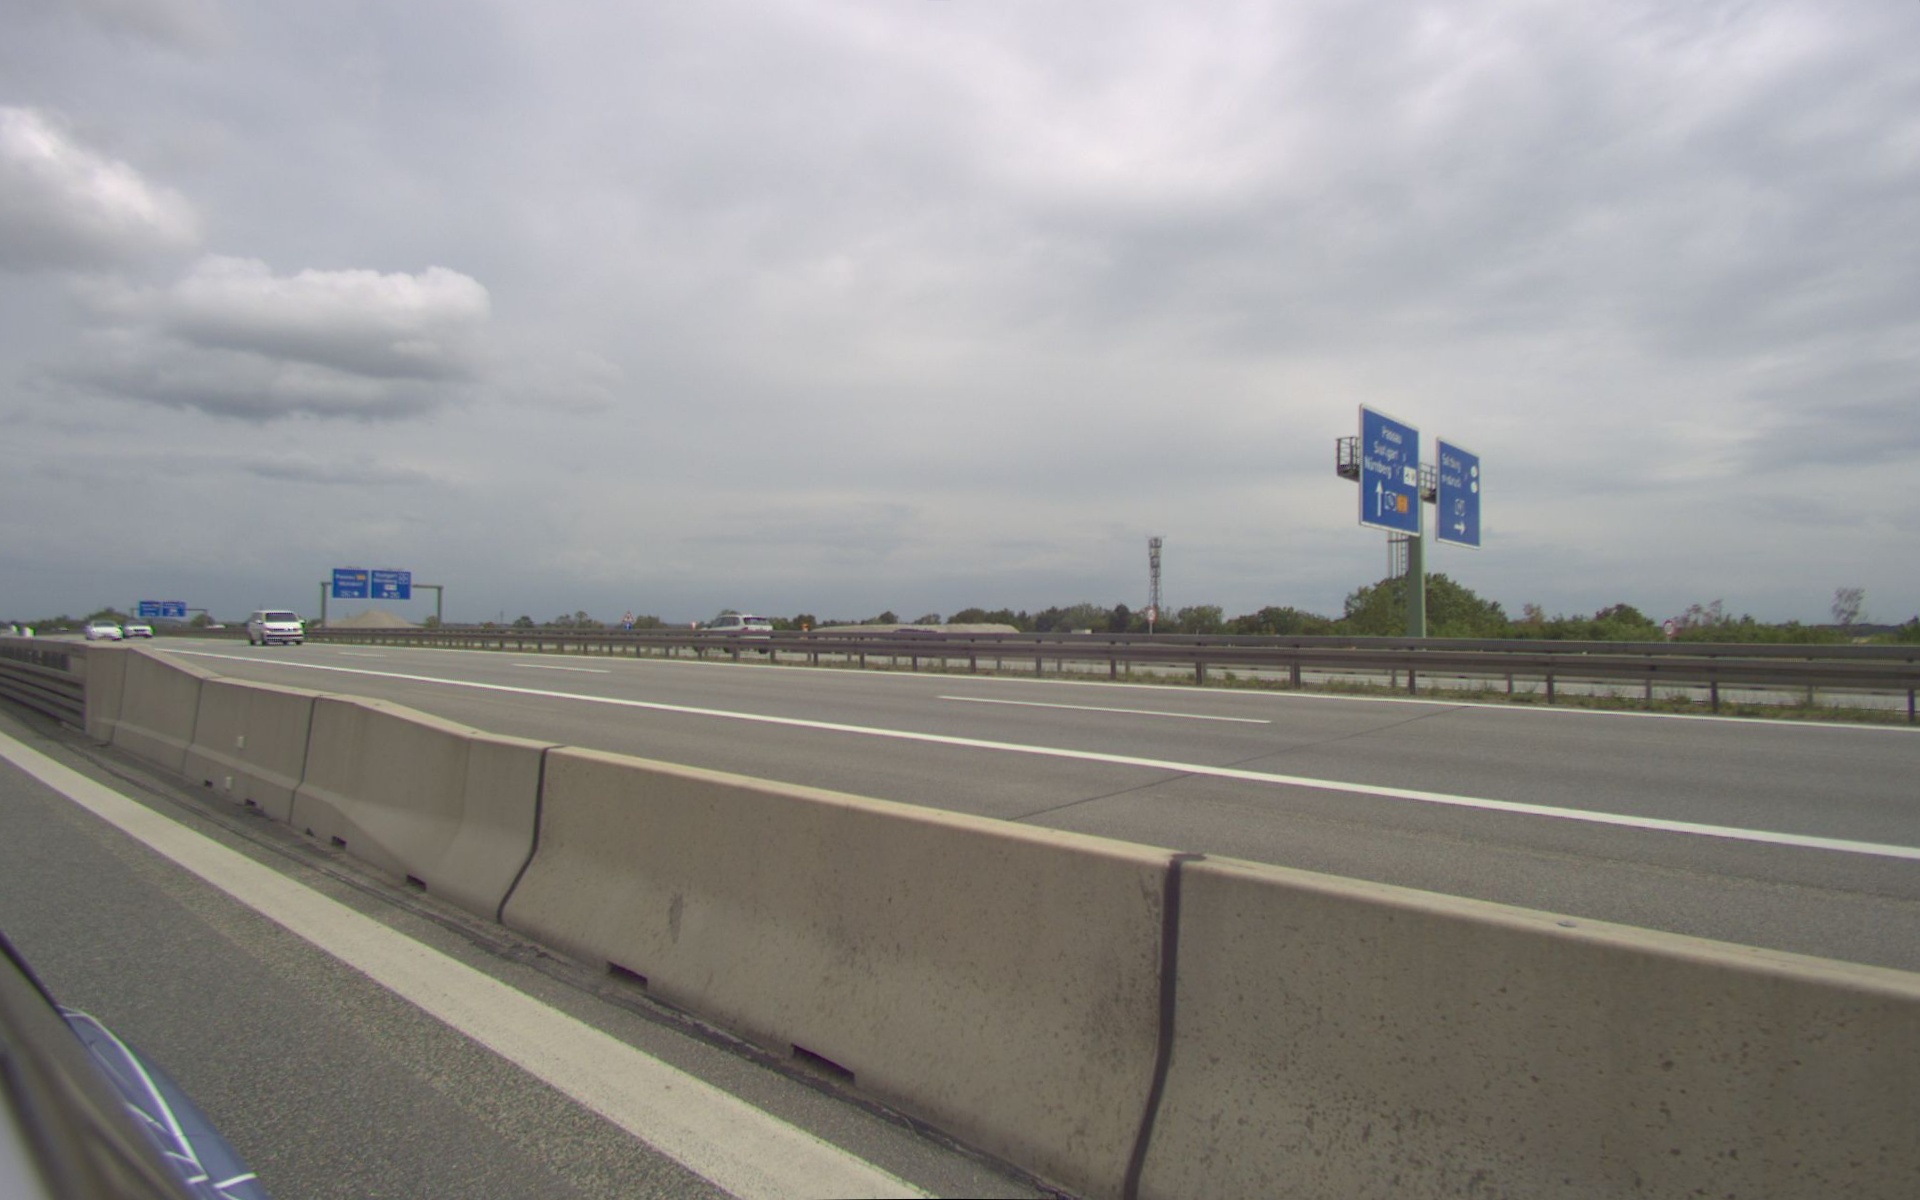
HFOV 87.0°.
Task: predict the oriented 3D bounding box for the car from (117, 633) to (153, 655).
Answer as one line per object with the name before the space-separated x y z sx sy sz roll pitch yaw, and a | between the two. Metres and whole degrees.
car | -74.391 4.007 91.272 3.999 1.896 1.972 -3 -2 42

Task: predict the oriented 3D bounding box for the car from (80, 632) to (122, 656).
car | -66.971 3.399 78.867 3.999 1.763 1.972 -3 -2 42

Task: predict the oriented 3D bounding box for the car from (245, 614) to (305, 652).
car | -38.615 1.877 57.014 4.467 2.029 1.971 -3 -2 45

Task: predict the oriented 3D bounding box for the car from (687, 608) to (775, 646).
car | -10.533 1.246 46.410 4.518 1.635 1.724 -3 -2 44
